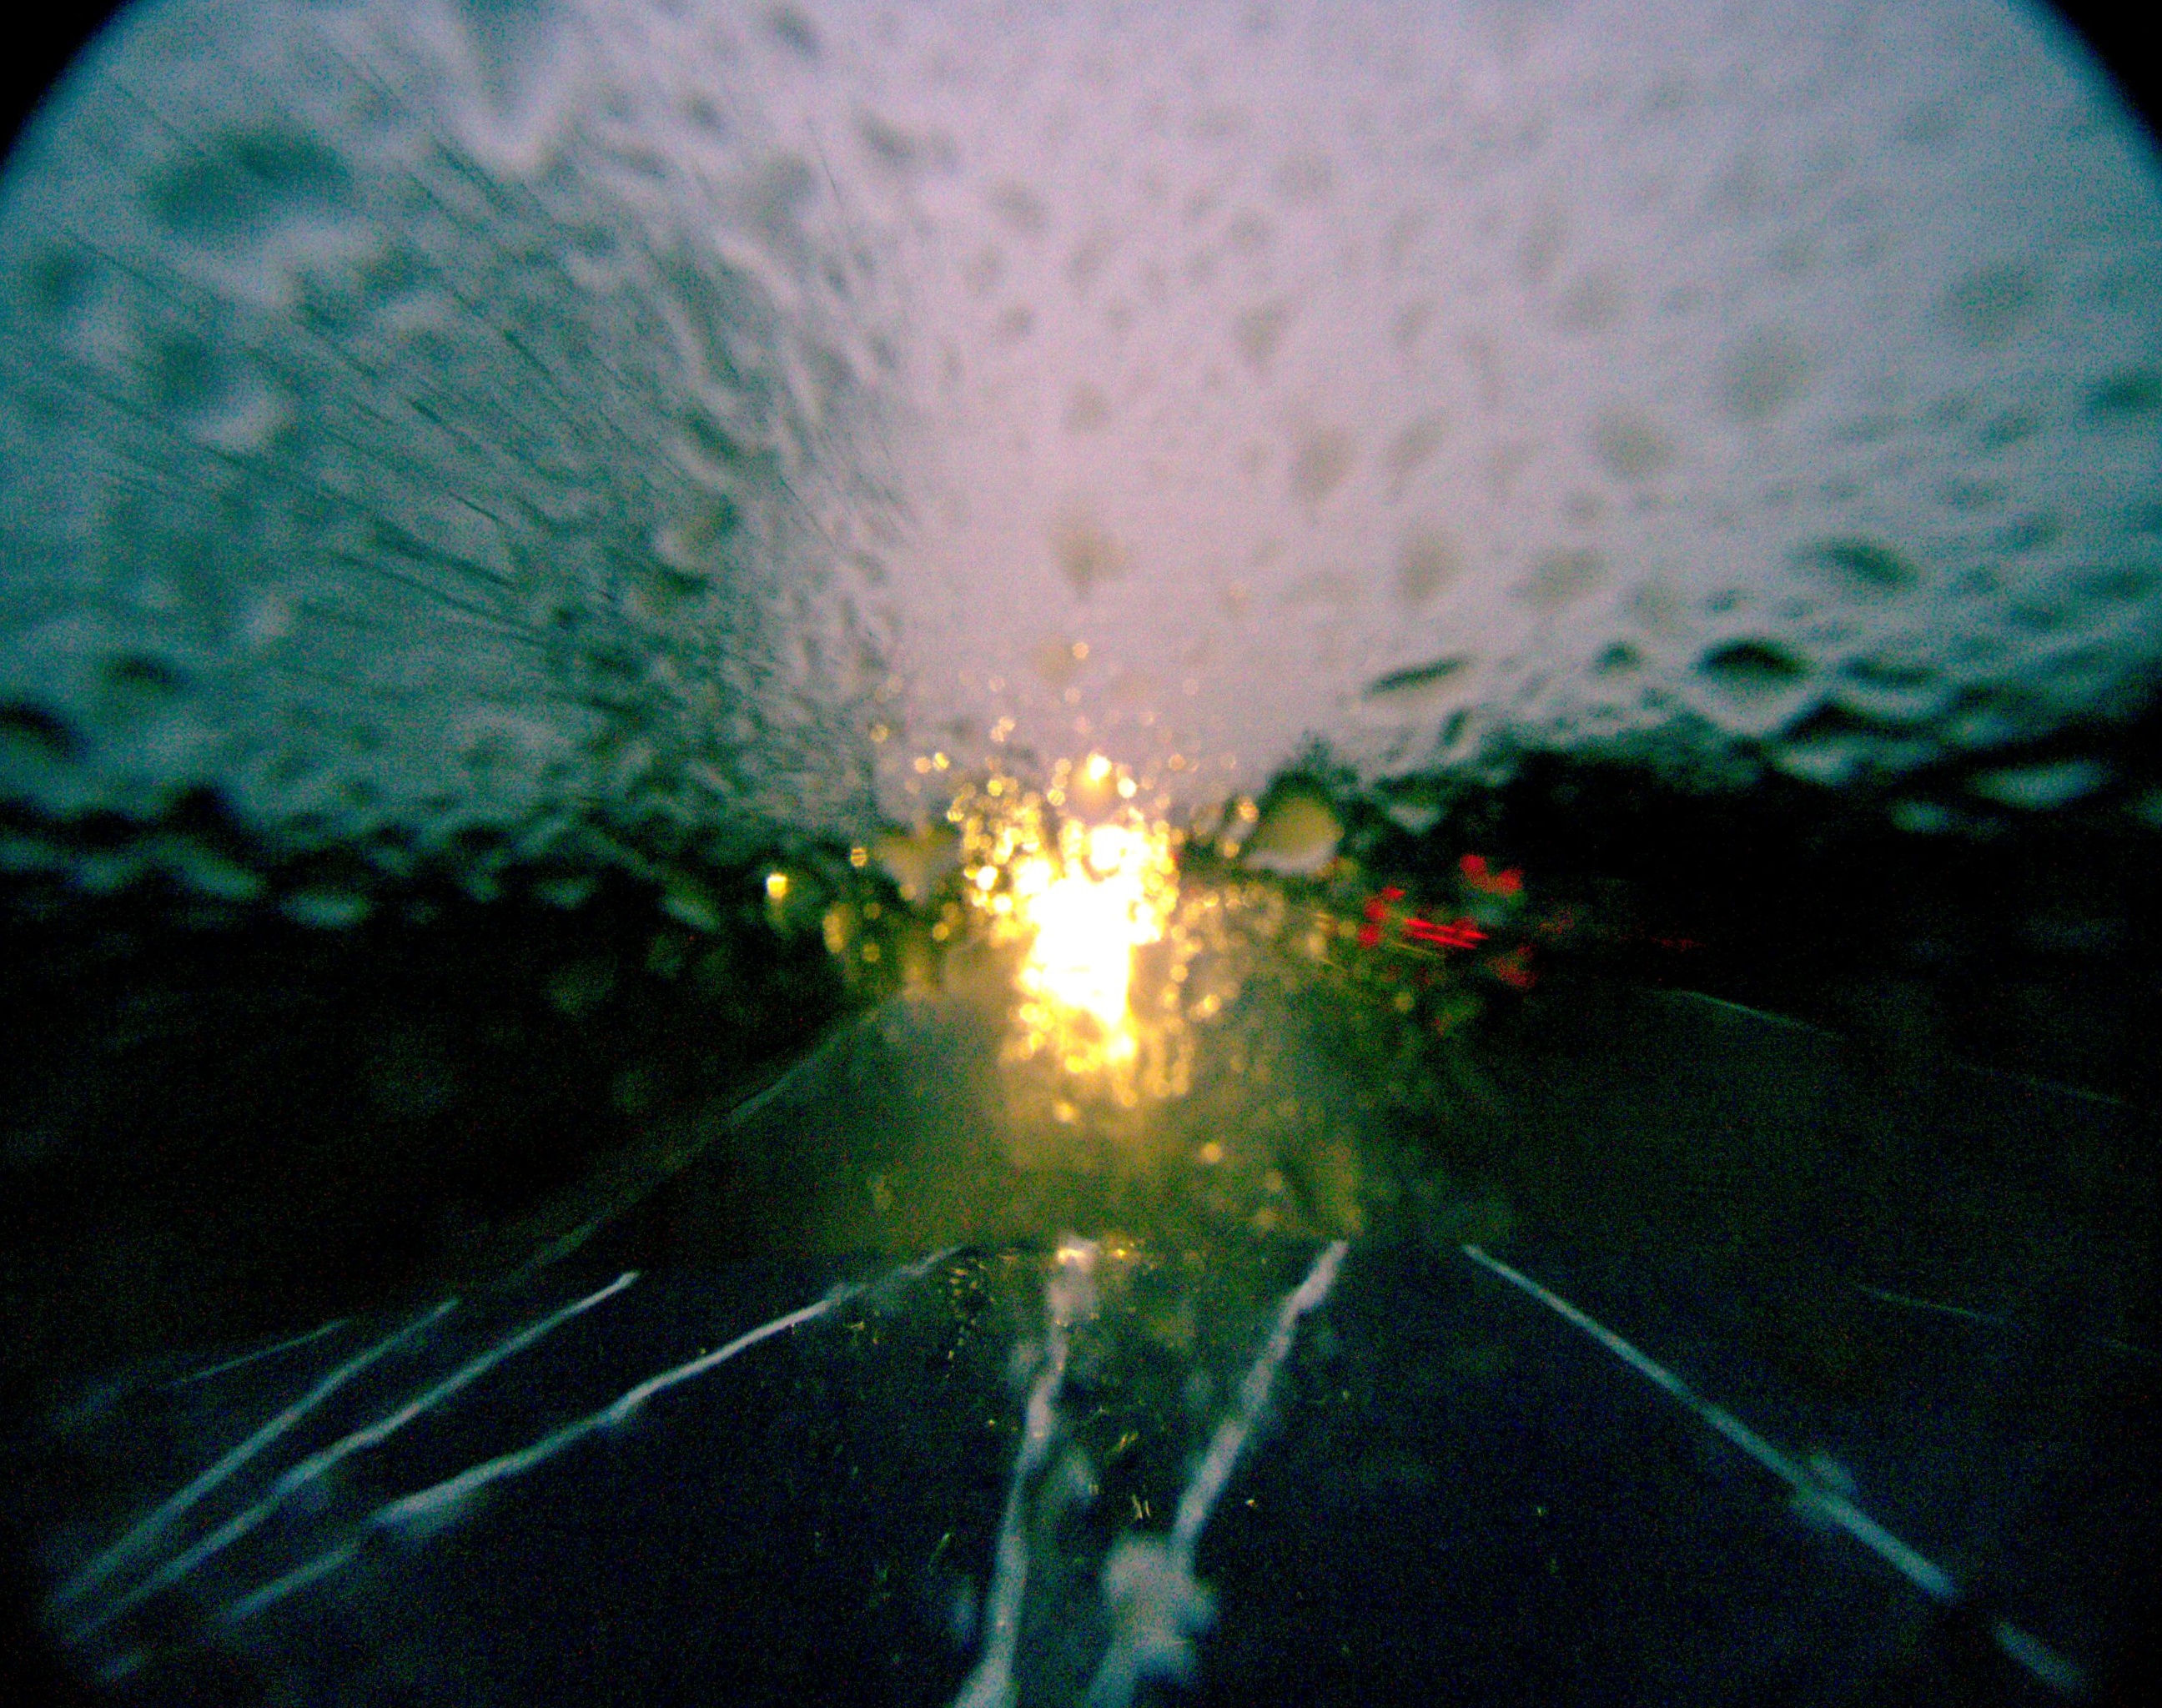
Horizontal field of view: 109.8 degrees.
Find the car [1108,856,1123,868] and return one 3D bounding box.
[{"bbox_3d":[4.794,1.079,105.421,1.756,1.637,4.049,-2,0,0],"label":"car"}]

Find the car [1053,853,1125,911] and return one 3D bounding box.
[{"bbox_3d":[0.354,0.839,24.647,1.998,1.601,4.001,-3,0,4],"label":"car"}]

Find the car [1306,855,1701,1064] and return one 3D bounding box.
[{"bbox_3d":[3.610,0.777,7.294,1.822,1.433,3.455,-3,0,0],"label":"car"}]

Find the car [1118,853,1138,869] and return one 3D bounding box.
[{"bbox_3d":[4.838,0.675,78.185,1.784,1.586,4.692,-2,0,1],"label":"car"}]

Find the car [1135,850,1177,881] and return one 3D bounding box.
[{"bbox_3d":[4.216,0.635,43.501,1.927,1.645,4.104,-2,0,0],"label":"car"}]
